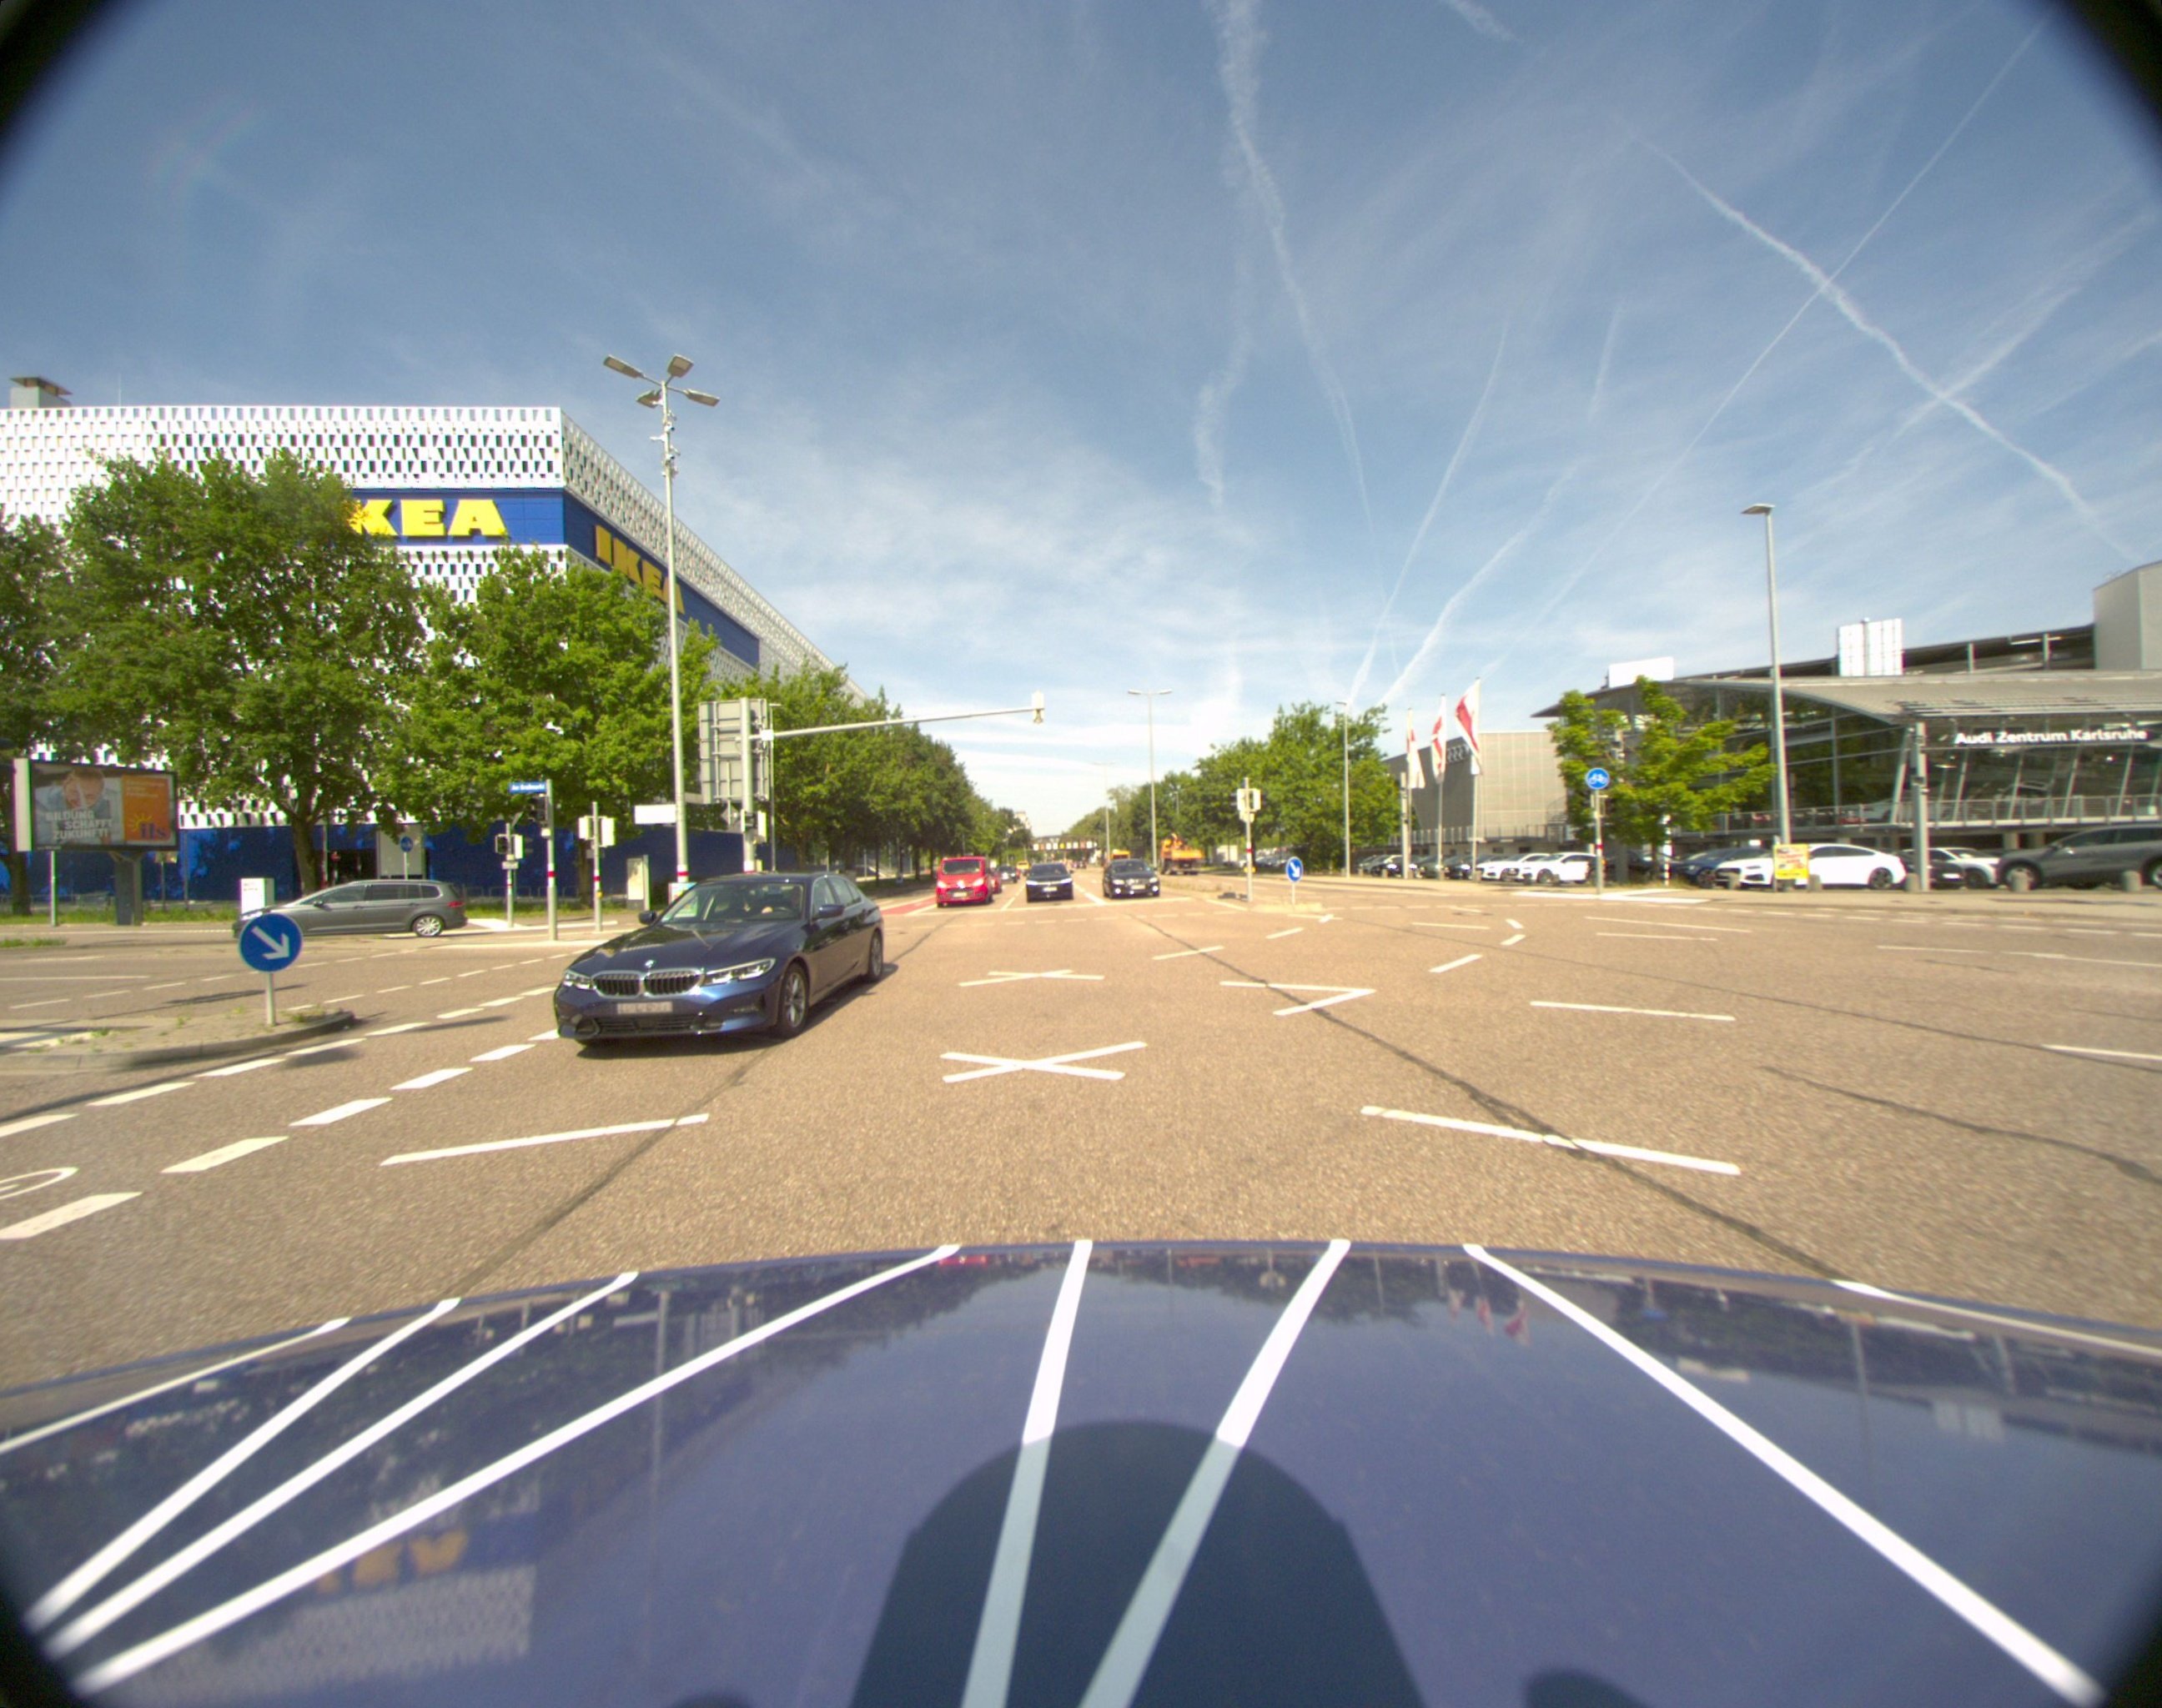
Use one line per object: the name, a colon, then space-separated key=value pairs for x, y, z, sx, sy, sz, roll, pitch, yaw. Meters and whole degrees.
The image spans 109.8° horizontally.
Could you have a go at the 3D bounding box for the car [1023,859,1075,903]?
car: x=-1.236 y=1.046 z=30.963 sx=1.848 sy=1.530 sz=4.000 roll=-5 pitch=0 yaw=-1

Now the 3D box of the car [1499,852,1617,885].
car: x=20.952 y=0.617 z=33.486 sx=4.083 sy=1.362 sz=1.878 roll=1 pitch=0 yaw=-3

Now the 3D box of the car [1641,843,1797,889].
car: x=21.343 y=0.391 z=25.498 sx=3.845 sy=1.394 sz=1.763 roll=-2 pitch=0 yaw=-4

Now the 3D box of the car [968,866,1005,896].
car: x=-5.263 y=1.479 z=42.691 sx=1.693 sy=1.414 sz=3.915 roll=-3 pitch=0 yaw=-3

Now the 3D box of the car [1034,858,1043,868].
car: x=-9.868 y=2.029 z=175.827 sx=1.999 sy=2.002 sz=3.998 roll=-4 pitch=1 yaw=-3

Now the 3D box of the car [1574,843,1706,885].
car: x=21.772 y=0.373 z=29.864 sx=1.802 sy=1.487 sz=4.424 roll=-2 pitch=0 yaw=-2

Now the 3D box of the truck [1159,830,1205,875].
truck: x=8.824 y=-0.150 z=67.214 sx=2.753 sy=3.658 sz=7.578 roll=-2 pitch=0 yaw=-1

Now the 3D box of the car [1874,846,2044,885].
car: x=33.807 y=0.411 z=29.451 sx=1.792 sy=1.370 sz=4.063 roll=-2 pitch=0 yaw=-3

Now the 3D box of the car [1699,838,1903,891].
car: x=21.699 y=0.314 z=23.019 sx=4.384 sy=1.424 sz=1.899 roll=-2 pitch=0 yaw=-1

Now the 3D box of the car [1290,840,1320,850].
car: x=34.552 y=-1.404 z=117.184 sx=4.197 sy=1.490 sz=1.690 roll=1 pitch=0 yaw=-2

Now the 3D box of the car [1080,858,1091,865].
car: x=0.871 y=1.424 z=150.143 sx=1.852 sy=1.451 sz=4.662 roll=0 pitch=0 yaw=-4

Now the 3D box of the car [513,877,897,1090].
car: x=-3.362 y=1.036 z=7.962 sx=1.800 sy=1.420 sz=4.537 roll=-2 pitch=0 yaw=-2

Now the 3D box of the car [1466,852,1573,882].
car: x=20.776 y=0.605 z=36.108 sx=3.998 sy=1.311 sz=1.868 roll=1 pitch=0 yaw=-3

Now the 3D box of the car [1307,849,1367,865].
car: x=20.636 y=0.274 z=61.271 sx=4.197 sy=1.219 sz=1.796 roll=1 pitch=0 yaw=-2

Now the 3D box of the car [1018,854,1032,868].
car: x=-8.832 y=1.022 z=120.633 sx=1.999 sy=2.002 sz=3.998 roll=-4 pitch=1 yaw=-3

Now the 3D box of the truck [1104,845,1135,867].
truck: x=4.993 y=0.329 z=100.409 sx=2.383 sy=2.609 sz=6.666 roll=-3 pitch=0 yaw=-12

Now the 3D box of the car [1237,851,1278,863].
car: x=19.720 y=0.361 z=84.912 sx=4.197 sy=1.248 sz=1.690 roll=1 pitch=0 yaw=-2

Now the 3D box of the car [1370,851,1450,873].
car: x=20.400 y=0.488 z=47.208 sx=4.122 sy=1.346 sz=1.834 roll=1 pitch=0 yaw=-4

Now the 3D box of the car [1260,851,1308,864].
car: x=19.842 y=0.326 z=74.362 sx=4.197 sy=1.198 sz=1.690 roll=1 pitch=0 yaw=-2

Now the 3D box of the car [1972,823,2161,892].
car: x=26.109 y=0.128 z=19.128 sx=1.818 sy=1.603 sz=4.597 roll=-2 pitch=-3 yaw=-2

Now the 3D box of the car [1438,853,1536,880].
car: x=20.602 y=0.639 z=38.673 sx=3.997 sy=1.311 sz=1.837 roll=1 pitch=0 yaw=-2

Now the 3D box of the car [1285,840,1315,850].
car: x=34.434 y=-1.384 z=119.515 sx=4.197 sy=1.490 sz=1.690 roll=1 pitch=0 yaw=-2

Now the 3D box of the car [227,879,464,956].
car: x=-19.716 y=1.602 z=20.635 sx=4.399 sy=1.645 sz=1.994 roll=-2 pitch=1 yaw=-43

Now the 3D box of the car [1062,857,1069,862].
car: x=-4.513 y=1.588 z=219.791 sx=1.866 sy=1.503 sz=4.000 roll=-2 pitch=0 yaw=0

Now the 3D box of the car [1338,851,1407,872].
car: x=20.149 y=0.495 z=52.626 sx=4.036 sy=1.394 sz=1.808 roll=1 pitch=0 yaw=-4

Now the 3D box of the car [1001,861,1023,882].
car: x=-5.828 y=1.472 z=64.185 sx=1.649 sy=1.530 sz=3.999 roll=-5 pitch=0 yaw=-4

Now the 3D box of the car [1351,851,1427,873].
car: x=20.209 y=0.508 z=49.909 sx=4.227 sy=1.387 sz=1.802 roll=1 pitch=0 yaw=-3

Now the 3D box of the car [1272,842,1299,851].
car: x=34.338 y=-1.277 z=127.669 sx=4.197 sy=1.490 sz=1.690 roll=1 pitch=0 yaw=-2

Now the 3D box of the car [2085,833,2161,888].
car: x=28.801 y=0.111 z=18.955 sx=1.792 sy=1.433 sz=4.201 roll=-2 pitch=-2 yaw=-3

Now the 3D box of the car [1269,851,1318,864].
car: x=20.070 y=0.323 z=71.916 sx=4.197 sy=1.188 sz=1.690 roll=1 pitch=0 yaw=-2

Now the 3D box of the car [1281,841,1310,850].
car: x=34.413 y=-1.342 z=121.806 sx=4.197 sy=1.490 sz=1.690 roll=1 pitch=0 yaw=-2

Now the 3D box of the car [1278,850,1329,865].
car: x=20.285 y=0.325 z=69.426 sx=4.197 sy=1.239 sz=1.690 roll=1 pitch=0 yaw=-2

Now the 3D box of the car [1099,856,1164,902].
car: x=1.857 y=0.914 z=29.487 sx=1.883 sy=1.513 sz=4.868 roll=-4 pitch=0 yaw=-2

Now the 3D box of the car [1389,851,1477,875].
car: x=20.581 y=0.507 z=44.510 sx=4.292 sy=1.346 sz=1.829 roll=1 pitch=0 yaw=-4

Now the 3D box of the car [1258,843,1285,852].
car: x=33.881 y=-1.131 z=135.206 sx=4.197 sy=1.490 sz=1.690 roll=1 pitch=0 yaw=-2

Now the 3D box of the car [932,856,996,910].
car: x=-4.659 y=1.111 z=30.961 sx=2.014 sy=1.896 sz=4.808 roll=-4 pitch=0 yaw=-3

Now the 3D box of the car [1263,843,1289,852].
car: x=34.029 y=-1.194 z=132.622 sx=4.197 sy=1.490 sz=1.690 roll=1 pitch=0 yaw=-2

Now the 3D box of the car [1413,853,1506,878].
car: x=20.646 y=0.612 z=41.535 sx=4.186 sy=1.327 sz=1.854 roll=1 pitch=0 yaw=-3

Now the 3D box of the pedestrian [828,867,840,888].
pedestrian: x=-18.733 y=1.751 z=57.666 sx=0.680 sy=1.537 sz=0.780 roll=-2 pitch=0 yaw=-2
